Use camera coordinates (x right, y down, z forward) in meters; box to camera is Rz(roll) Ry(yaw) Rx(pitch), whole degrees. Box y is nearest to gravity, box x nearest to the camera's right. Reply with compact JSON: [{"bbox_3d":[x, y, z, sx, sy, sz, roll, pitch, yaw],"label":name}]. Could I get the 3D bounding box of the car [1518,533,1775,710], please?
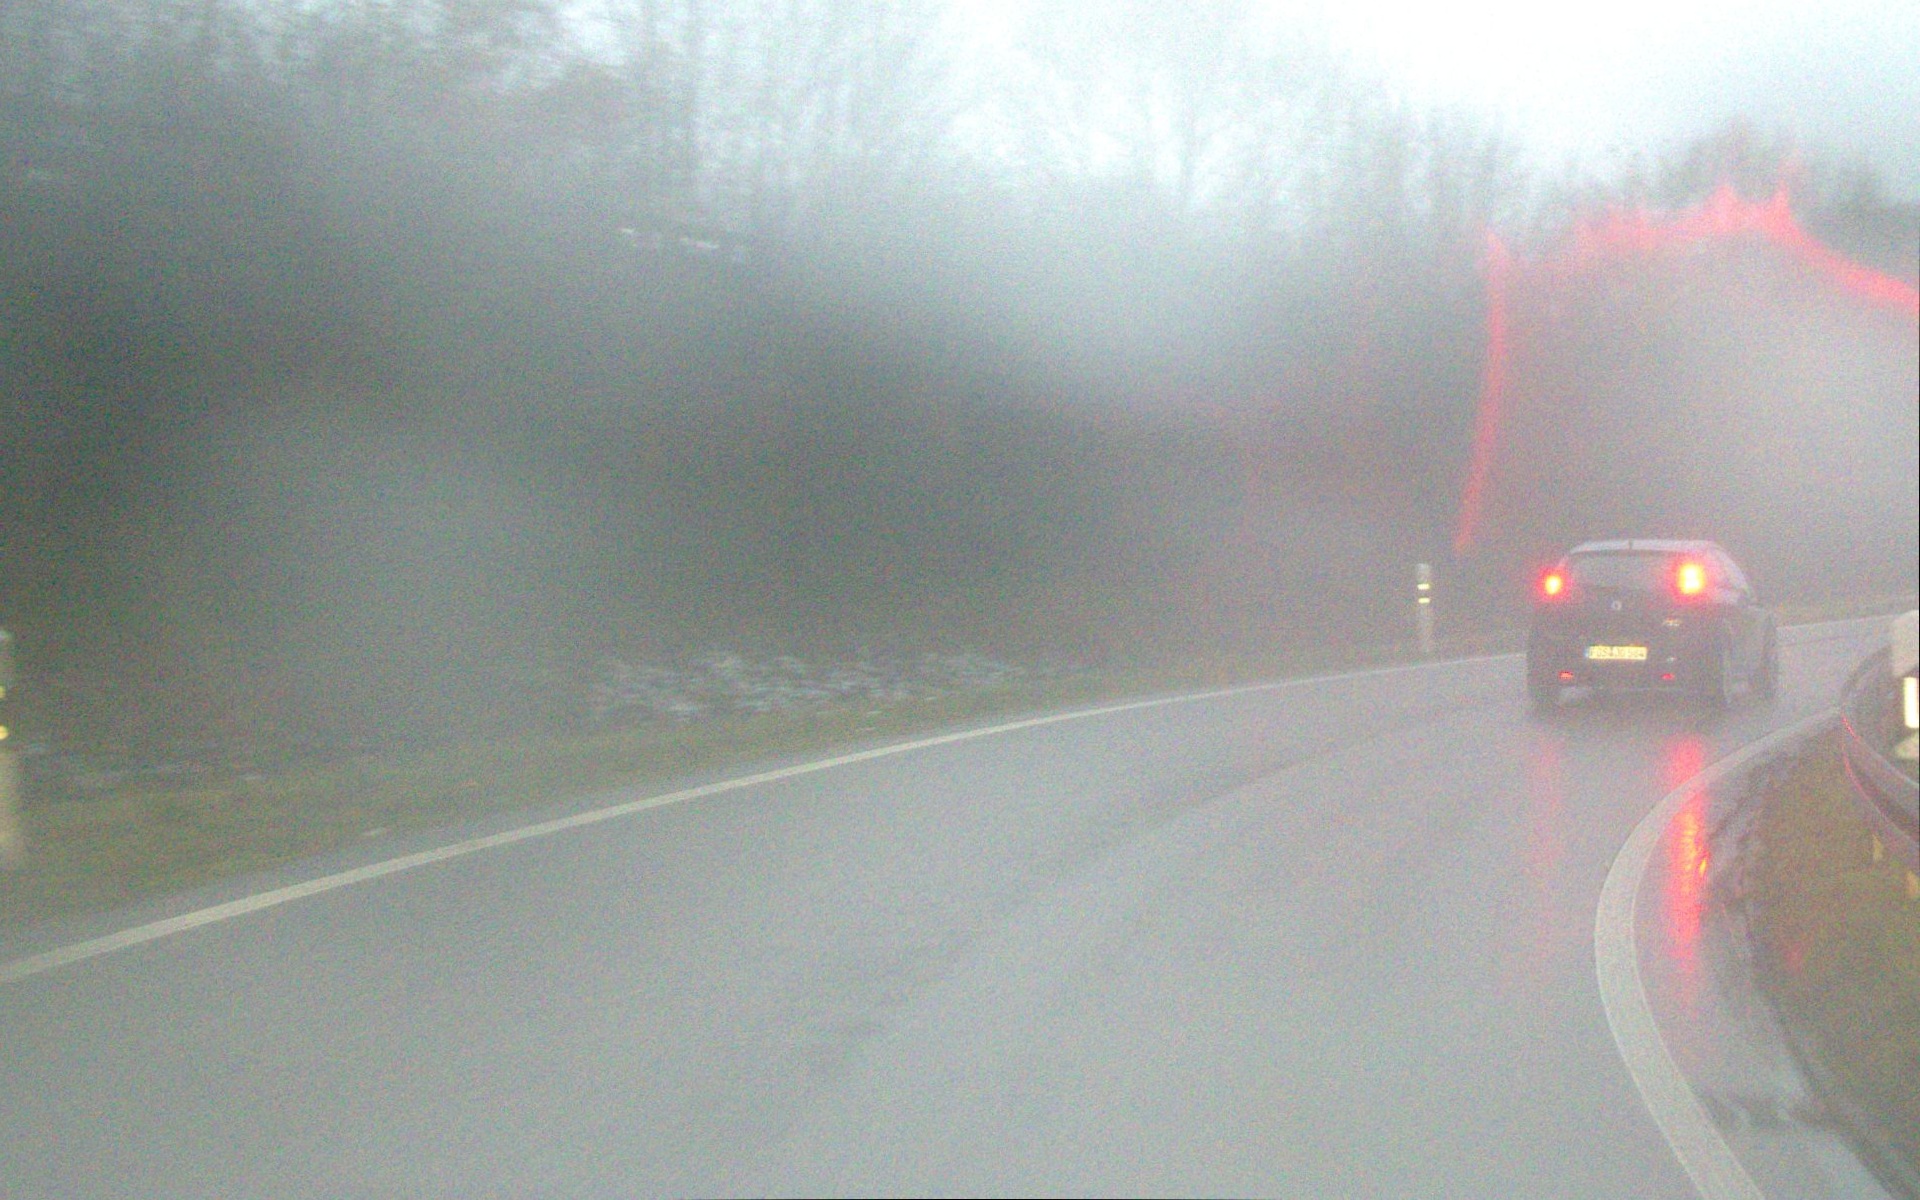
[{"bbox_3d":[6.198,0.153,30.745,1.733,1.424,3.762,-2,1,19],"label":"car"}]
